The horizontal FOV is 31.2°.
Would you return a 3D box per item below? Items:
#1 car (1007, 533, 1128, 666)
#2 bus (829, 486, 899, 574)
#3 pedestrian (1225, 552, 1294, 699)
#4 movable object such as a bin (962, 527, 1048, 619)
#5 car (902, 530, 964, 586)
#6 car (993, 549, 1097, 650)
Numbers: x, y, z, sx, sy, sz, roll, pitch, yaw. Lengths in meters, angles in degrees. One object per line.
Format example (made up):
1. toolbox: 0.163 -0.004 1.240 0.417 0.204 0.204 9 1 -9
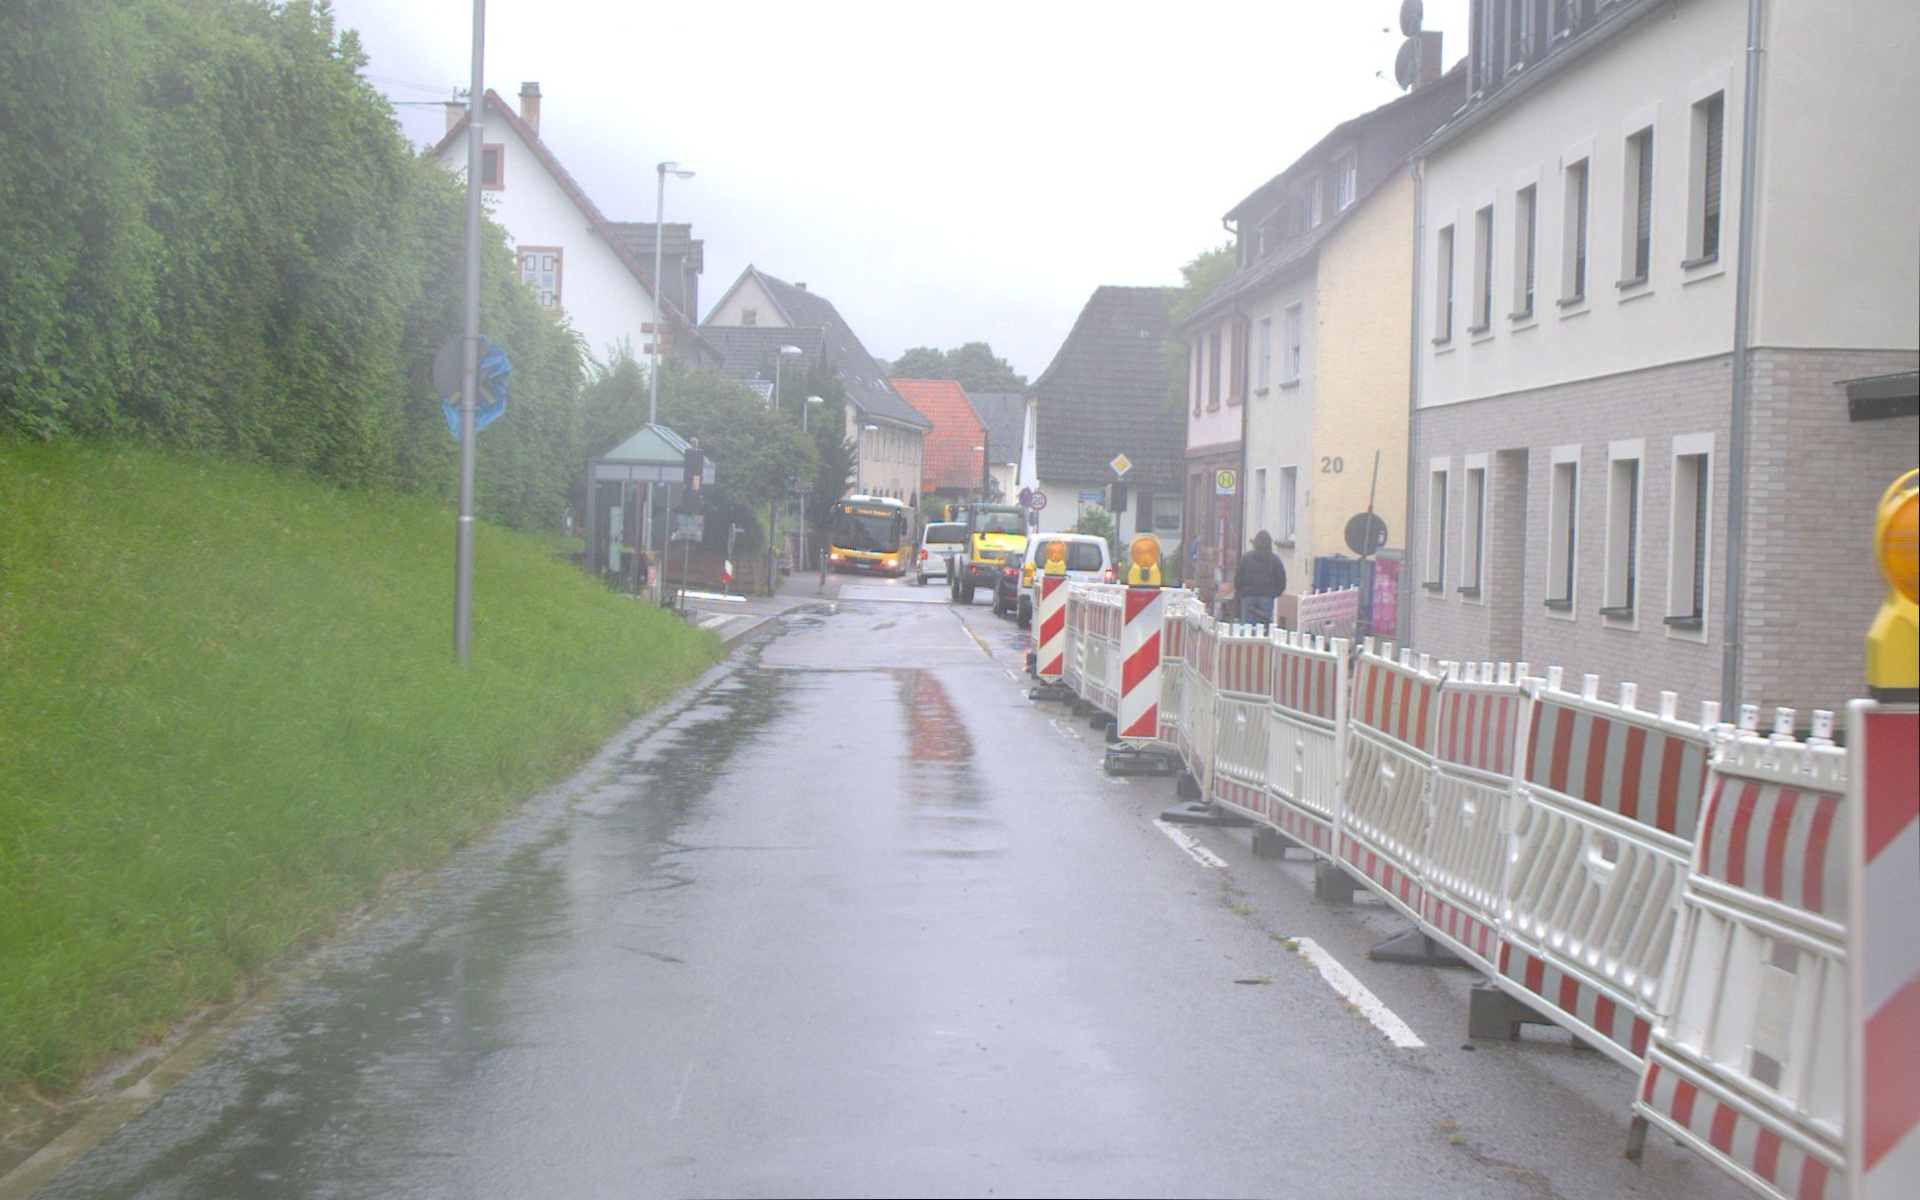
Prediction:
1. car: 2.043 -0.030 66.287 1.993 2.367 4.096 3 0 -1
2. bus: -3.601 -2.610 130.240 2.241 3.092 7.030 3 0 1
3. pedestrian: 3.662 0.310 42.117 0.665 1.749 0.812 3 0 -1
4. movable object such as a bin: 1.121 -0.690 87.280 1.993 2.165 4.000 3 0 0
5. car: -0.865 -1.332 108.912 1.818 1.636 4.096 3 0 -1
6. car: 1.795 -0.033 73.928 1.993 2.007 4.000 3 0 -1
